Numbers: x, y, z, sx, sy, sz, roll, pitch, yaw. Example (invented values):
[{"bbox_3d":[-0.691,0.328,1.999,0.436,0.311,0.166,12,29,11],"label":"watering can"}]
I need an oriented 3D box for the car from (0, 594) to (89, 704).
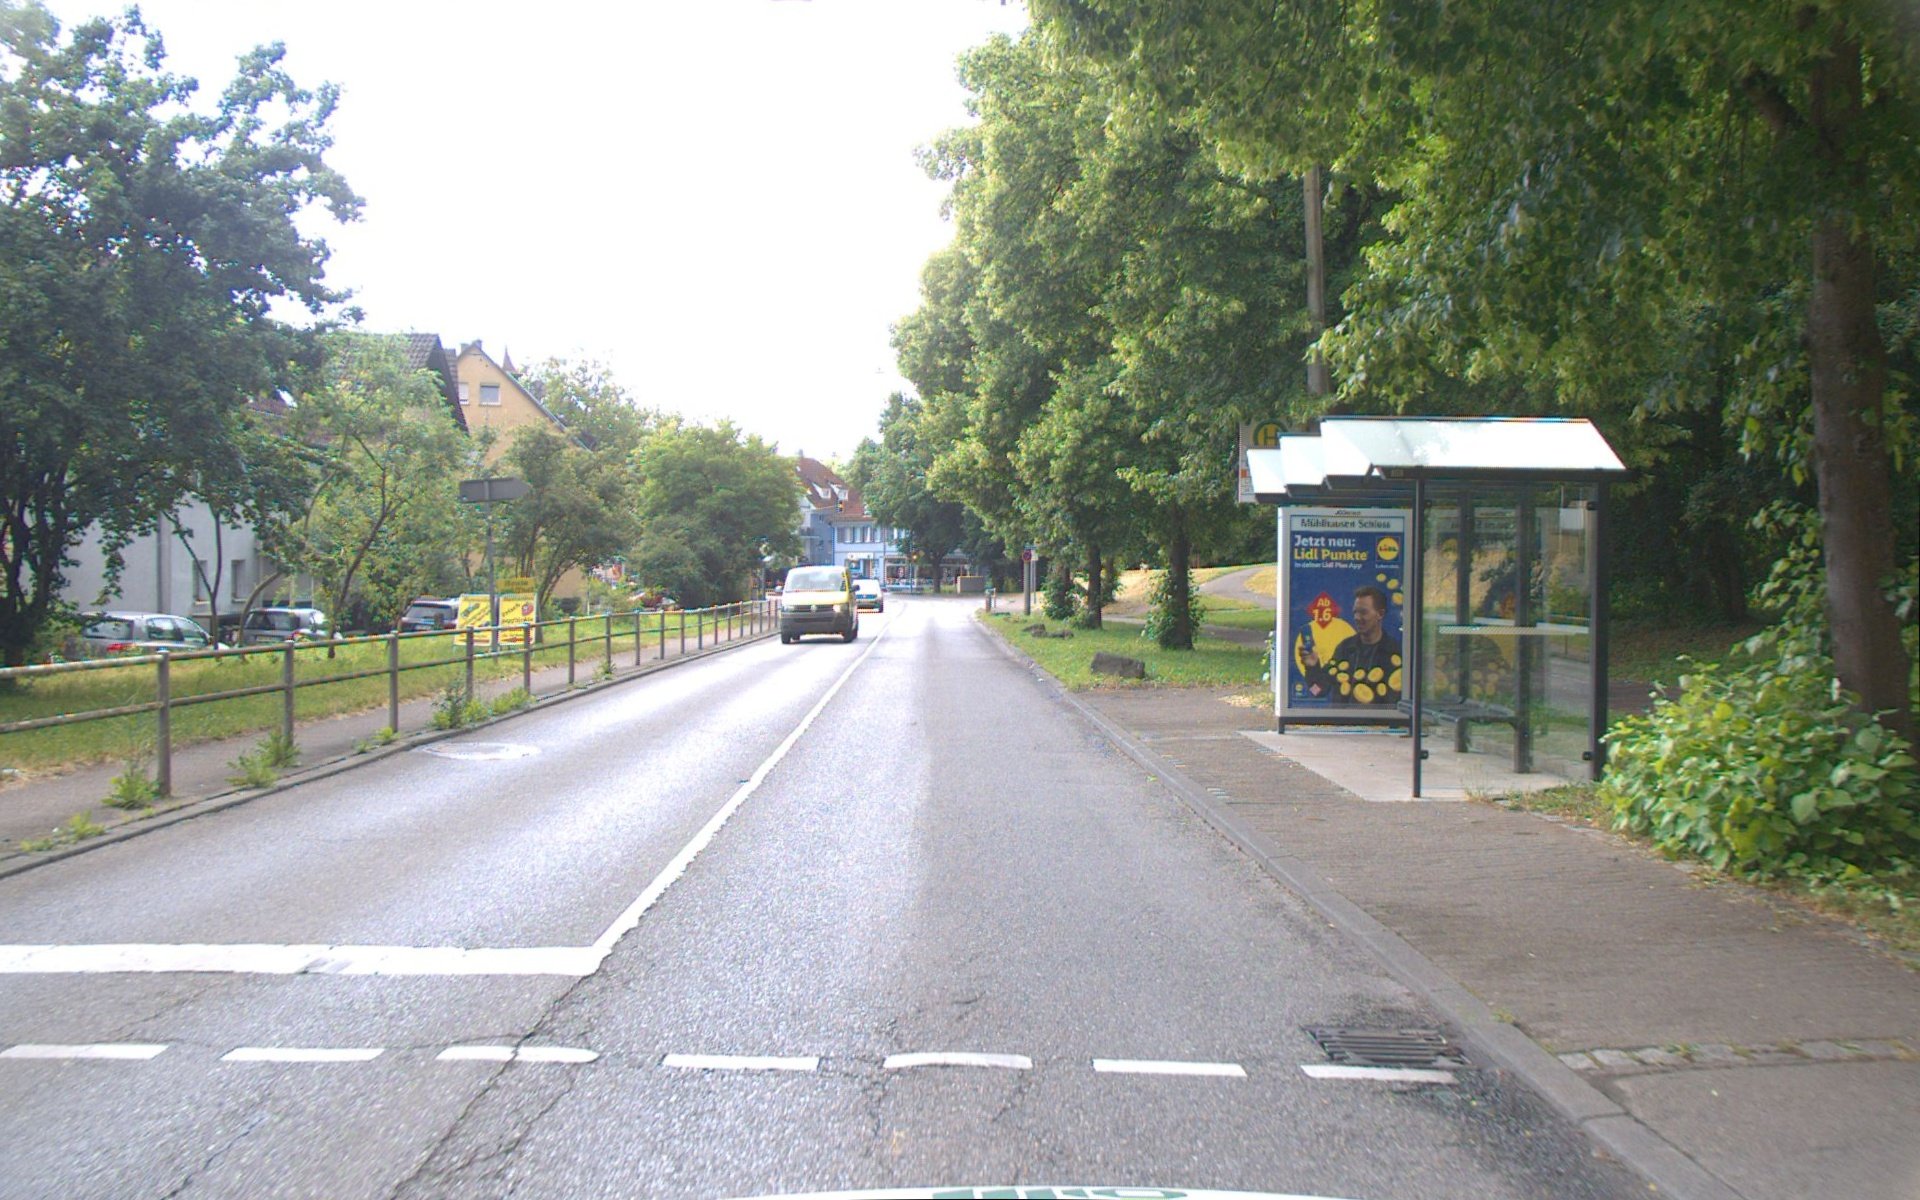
[{"bbox_3d":[-15.405,0.761,25.430,1.774,1.646,4.001,-1,1,2],"label":"car"}]

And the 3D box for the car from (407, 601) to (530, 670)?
[{"bbox_3d":[-13.390,0.936,45.337,1.880,1.724,4.003,-1,1,5],"label":"car"}]

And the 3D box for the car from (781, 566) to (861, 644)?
[{"bbox_3d":[-3.676,0.106,44.379,1.808,1.964,4.768,1,0,-1],"label":"car"}]

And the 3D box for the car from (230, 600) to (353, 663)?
[{"bbox_3d":[-14.764,0.672,36.638,1.520,1.300,2.555,-1,1,5],"label":"car"}]

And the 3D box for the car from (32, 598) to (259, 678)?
[{"bbox_3d":[-14.884,0.654,30.507,1.951,1.299,4.003,-1,1,5],"label":"car"}]

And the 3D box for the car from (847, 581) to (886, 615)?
[{"bbox_3d":[-4.507,-0.125,79.909,1.670,1.538,3.999,-2,1,-1],"label":"car"}]
